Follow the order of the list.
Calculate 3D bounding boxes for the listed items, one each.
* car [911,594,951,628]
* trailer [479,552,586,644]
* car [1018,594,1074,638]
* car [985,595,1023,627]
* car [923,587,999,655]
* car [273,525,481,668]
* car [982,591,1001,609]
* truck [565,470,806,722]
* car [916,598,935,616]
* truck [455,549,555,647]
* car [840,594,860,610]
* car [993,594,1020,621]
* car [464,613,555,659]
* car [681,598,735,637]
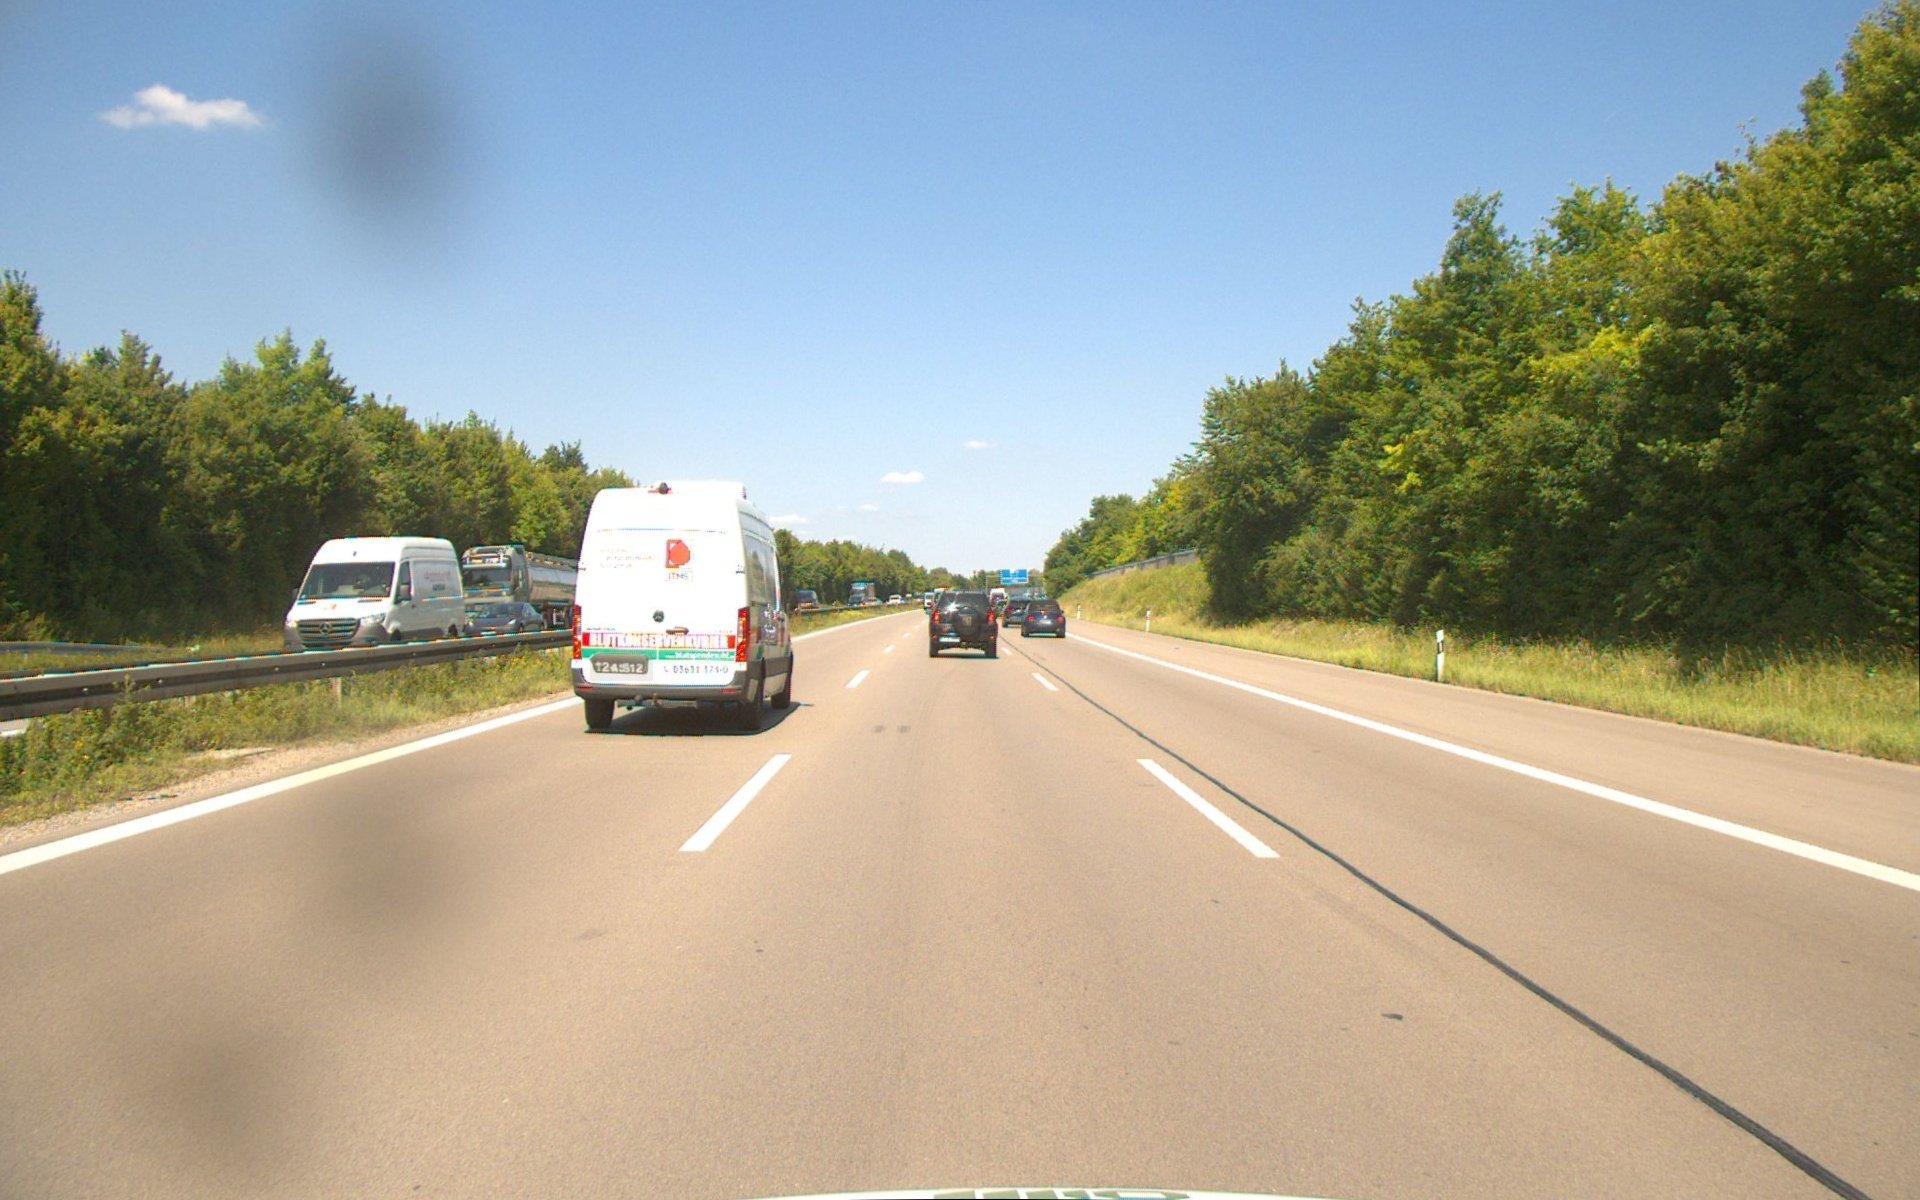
[{"bbox_3d":[-1.528,0.592,88.217,1.952,1.736,4.337,-1,0,1],"label":"car"},{"bbox_3d":[-19.890,-0.092,77.563,2.710,3.950,9.453,-3,0,-2],"label":"trailer"},{"bbox_3d":[3.476,0.658,67.614,1.953,1.713,3.998,0,-1,-2],"label":"car"},{"bbox_3d":[2.320,0.605,87.870,1.805,1.640,3.998,0,-1,-2],"label":"car"},{"bbox_3d":[-0.017,0.555,43.077,1.868,1.694,3.998,0,-1,-1],"label":"car"},{"bbox_3d":[-11.639,-0.070,33.599,2.028,2.600,6.399,-1,0,-1],"label":"car"},{"bbox_3d":[3.658,0.002,194.336,1.954,2.049,4.765,-1,0,-3],"label":"car"},{"bbox_3d":[-3.178,-0.054,20.650,1.953,2.587,6.690,1,0,-1],"label":"truck"},{"bbox_3d":[-4.145,0.810,199.685,1.952,2.049,4.951,-1,0,2],"label":"car"},{"bbox_3d":[-19.654,-0.089,71.824,2.677,3.950,6.319,-3,0,-2],"label":"truck"},{"bbox_3d":[-12.417,0.208,186.775,1.953,1.695,4.473,-1,0,-1],"label":"car"},{"bbox_3d":[3.575,0.570,128.597,1.953,2.049,3.999,0,-1,-1],"label":"car"},{"bbox_3d":[-15.454,1.202,56.986,1.868,1.440,4.890,0,0,-1],"label":"car"},{"bbox_3d":[-12.112,0.814,79.793,1.868,1.820,5.058,0,0,-1],"label":"car"}]
